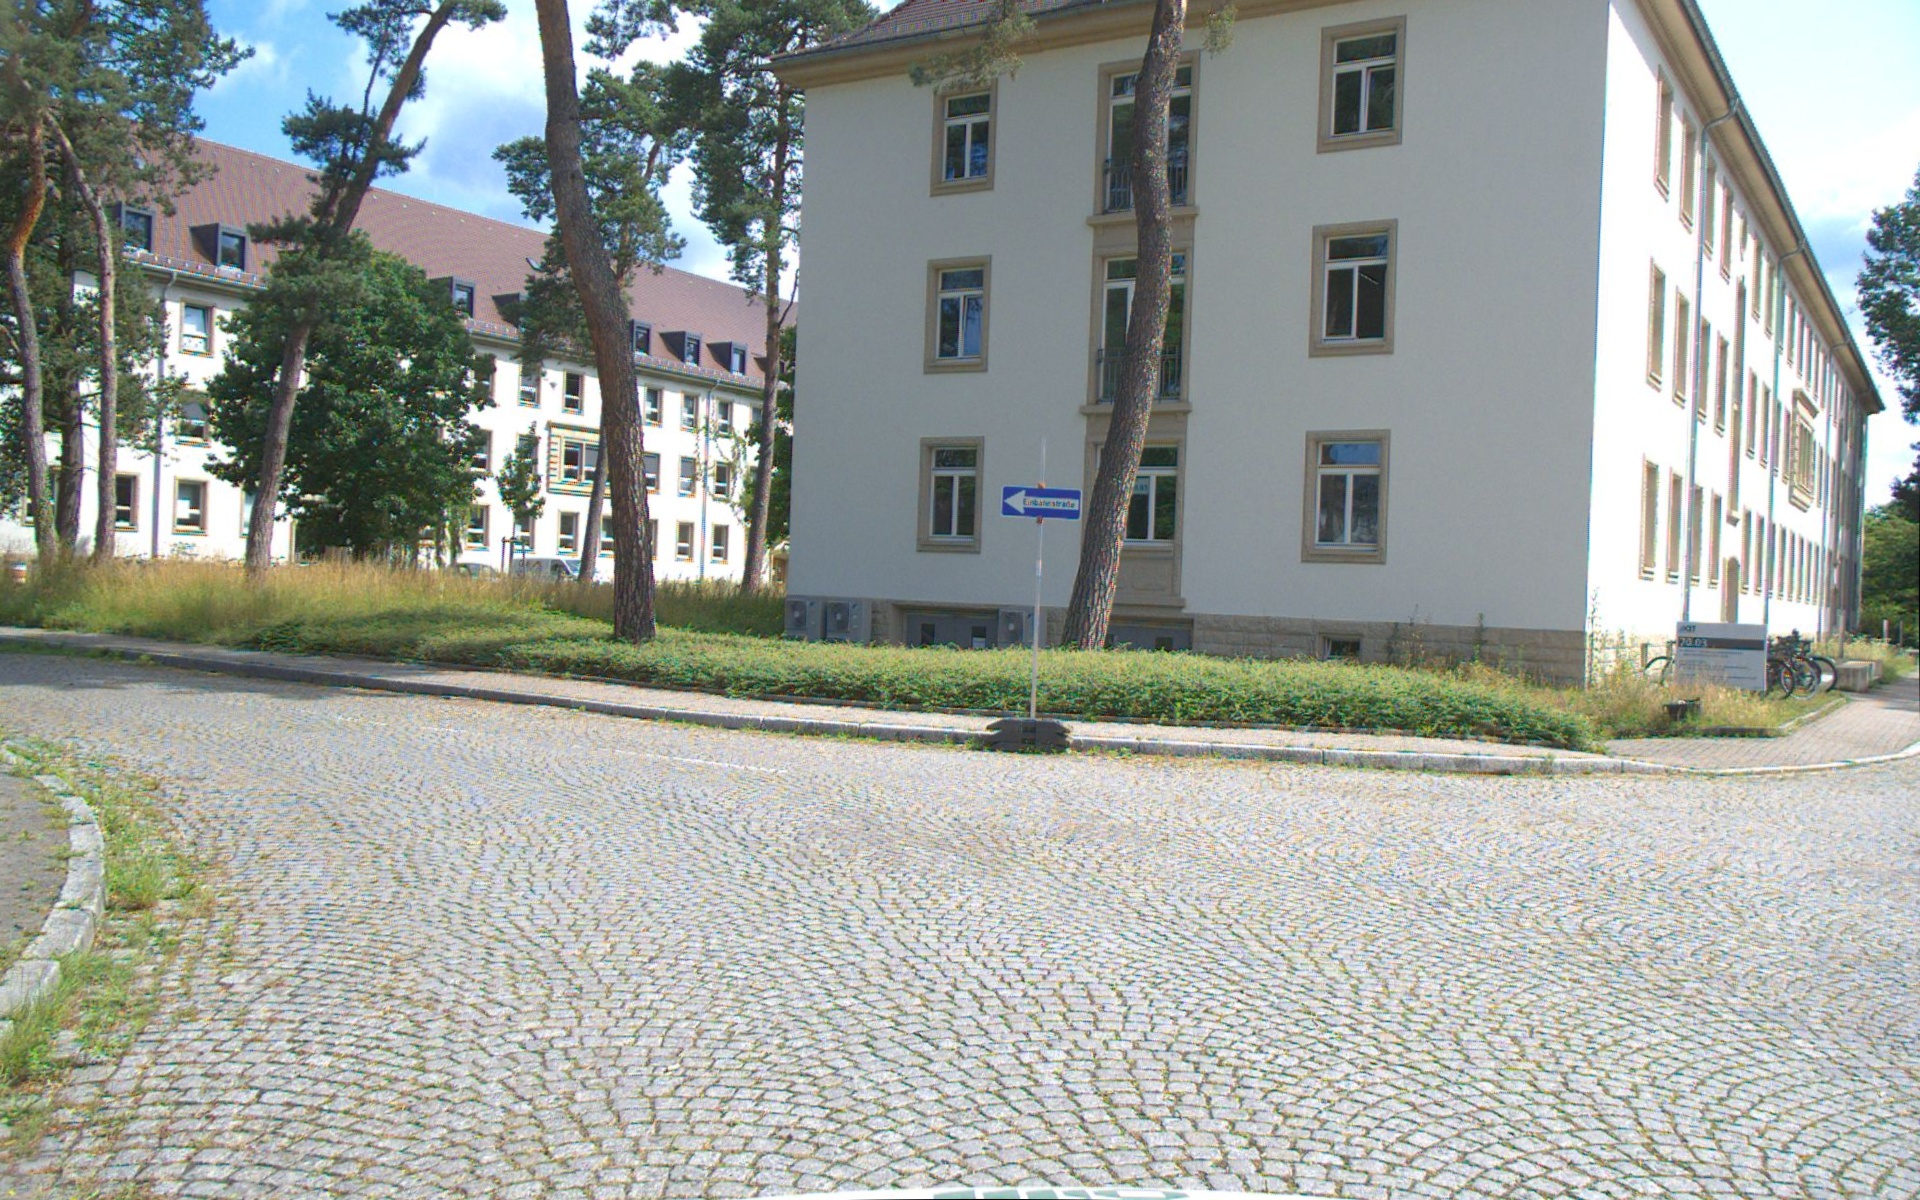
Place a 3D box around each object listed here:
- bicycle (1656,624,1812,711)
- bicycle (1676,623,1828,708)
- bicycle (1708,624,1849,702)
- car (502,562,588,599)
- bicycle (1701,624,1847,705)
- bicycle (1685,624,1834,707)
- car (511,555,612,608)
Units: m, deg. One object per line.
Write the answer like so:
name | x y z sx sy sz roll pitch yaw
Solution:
bicycle | 12.525 1.067 26.793 2.187 1.282 0.620 2 0 39
bicycle | 13.098 1.069 27.384 2.184 1.282 0.621 2 0 35
bicycle | 14.676 1.114 29.692 2.184 1.282 0.621 2 0 35
car | -16.281 -0.765 64.843 3.226 1.367 1.421 2 0 33
bicycle | 14.168 1.100 28.822 2.184 1.282 0.621 2 0 35
bicycle | 13.601 1.098 28.165 2.187 1.282 0.620 2 0 39
car | -16.321 -0.772 67.718 3.988 2.026 1.708 2 0 33
